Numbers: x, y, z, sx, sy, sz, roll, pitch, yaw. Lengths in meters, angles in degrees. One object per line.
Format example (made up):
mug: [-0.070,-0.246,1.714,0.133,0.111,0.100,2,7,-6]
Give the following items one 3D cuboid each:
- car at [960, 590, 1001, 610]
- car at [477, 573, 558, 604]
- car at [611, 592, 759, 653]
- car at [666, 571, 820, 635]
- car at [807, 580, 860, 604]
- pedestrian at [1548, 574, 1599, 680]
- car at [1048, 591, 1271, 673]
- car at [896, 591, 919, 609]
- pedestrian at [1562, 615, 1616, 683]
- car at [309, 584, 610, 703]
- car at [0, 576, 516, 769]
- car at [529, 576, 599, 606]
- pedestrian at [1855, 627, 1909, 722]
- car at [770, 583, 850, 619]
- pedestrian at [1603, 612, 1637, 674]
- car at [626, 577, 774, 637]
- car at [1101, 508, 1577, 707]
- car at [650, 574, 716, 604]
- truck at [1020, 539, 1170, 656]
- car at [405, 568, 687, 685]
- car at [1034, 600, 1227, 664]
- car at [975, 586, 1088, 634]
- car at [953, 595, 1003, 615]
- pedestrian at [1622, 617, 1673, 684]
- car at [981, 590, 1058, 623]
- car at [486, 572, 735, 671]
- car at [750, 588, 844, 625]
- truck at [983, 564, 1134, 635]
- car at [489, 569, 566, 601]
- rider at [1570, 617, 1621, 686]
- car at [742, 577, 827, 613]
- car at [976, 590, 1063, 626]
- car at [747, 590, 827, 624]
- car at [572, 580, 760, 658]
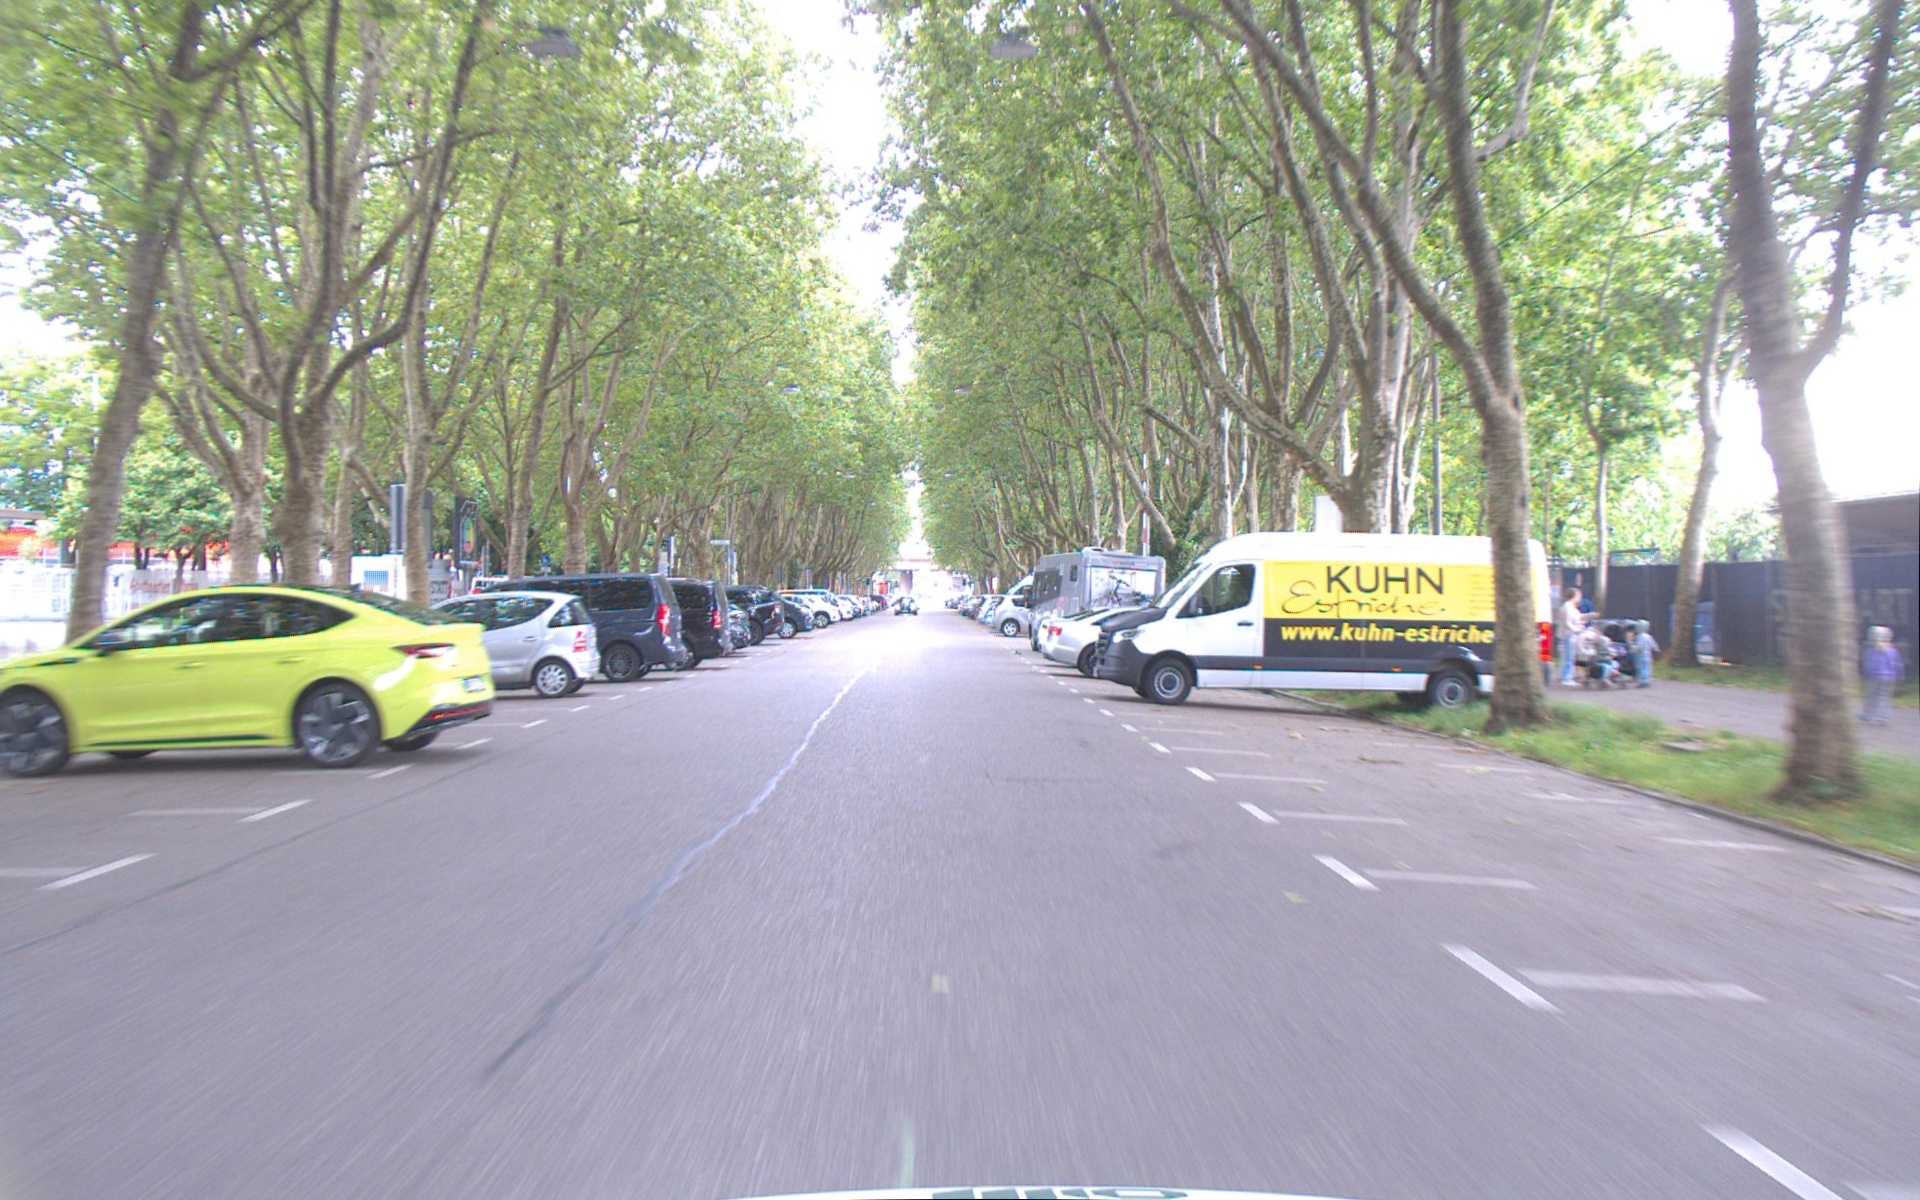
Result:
car: [1.850,0.019,149.369,3.574,1.696,1.518,1,0,-5]
car: [-35.110,-0.890,131.340,5.880,2.292,1.999,1,0,-2]
car: [-7.536,0.601,45.203,3.832,1.520,1.747,-2,0,-14]
car: [-7.814,0.096,59.997,5.327,2.165,1.939,-2,1,-3]
car: [-9.056,-0.575,118.713,3.751,1.656,1.951,-1,0,-4]
pedestrian: [10.431,0.448,28.132,0.626,1.771,0.621,-1,0,2]
car: [3.907,0.624,32.847,4.268,1.471,1.613,1,0,2]
car: [-4.327,-0.032,135.697,1.622,1.388,4.108,-2,0,-5]
pedestrian: [10.357,0.804,27.246,0.626,1.078,0.676,1,0,0]
car: [-7.449,0.616,24.936,4.026,1.596,1.756,-2,0,-6]
car: [-6.537,0.621,15.192,4.423,1.646,1.758,0,0,1]
car: [-36.188,-0.776,151.167,5.880,2.571,1.999,1,0,-2]
pedestrian: [10.963,0.884,19.683,0.387,1.103,0.419,-2,0,2]
car: [-9.178,0.066,101.482,4.795,2.054,1.919,-1,0,-2]
pedestrian: [11.518,0.749,28.867,0.415,1.053,0.391,2,0,-41]
car: [-8.218,0.223,52.354,4.569,1.852,1.801,0,-1,-10]
car: [5.642,0.106,25.274,6.740,2.742,2.127,1,0,0]
car: [-25.423,-1.021,151.966,5.668,2.642,2.000,1,0,-1]
truck: [3.640,-0.076,46.597,2.413,2.989,7.521,1,0,-9]
car: [-7.387,0.452,29.966,4.670,1.958,2.015,-1,0,-6]
car: [3.879,0.730,38.035,4.232,1.325,1.699,1,0,-1]
car: [2.749,0.386,64.128,4.250,1.646,1.804,3,0,1]
car: [1.526,0.430,142.646,4.085,1.624,1.853,1,0,-5]
pedestrian: [11.353,0.829,27.322,0.580,1.067,0.589,-1,1,2]
car: [3.456,0.392,96.635,4.297,1.786,1.800,2,0,-3]
car: [-7.351,0.427,35.194,4.805,1.958,2.208,-1,0,-1]
car: [-7.706,0.294,78.465,4.292,1.625,1.999,-1,0,-3]
truck: [4.085,-0.040,69.095,6.163,2.762,2.098,1,0,1]
car: [-36.474,-1.254,139.552,5.880,2.571,1.999,1,0,-2]
rider: [10.355,0.833,26.957,0.580,1.067,0.589,-2,1,2]
car: [-9.139,-0.247,86.335,4.254,1.697,1.999,-2,0,-3]
car: [2.829,0.394,79.353,4.035,1.454,1.703,3,0,0]
car: [-9.572,0.377,91.822,4.254,1.697,1.999,-2,0,-3]
car: [-7.553,0.473,42.789,4.485,1.812,1.798,-2,1,0]
